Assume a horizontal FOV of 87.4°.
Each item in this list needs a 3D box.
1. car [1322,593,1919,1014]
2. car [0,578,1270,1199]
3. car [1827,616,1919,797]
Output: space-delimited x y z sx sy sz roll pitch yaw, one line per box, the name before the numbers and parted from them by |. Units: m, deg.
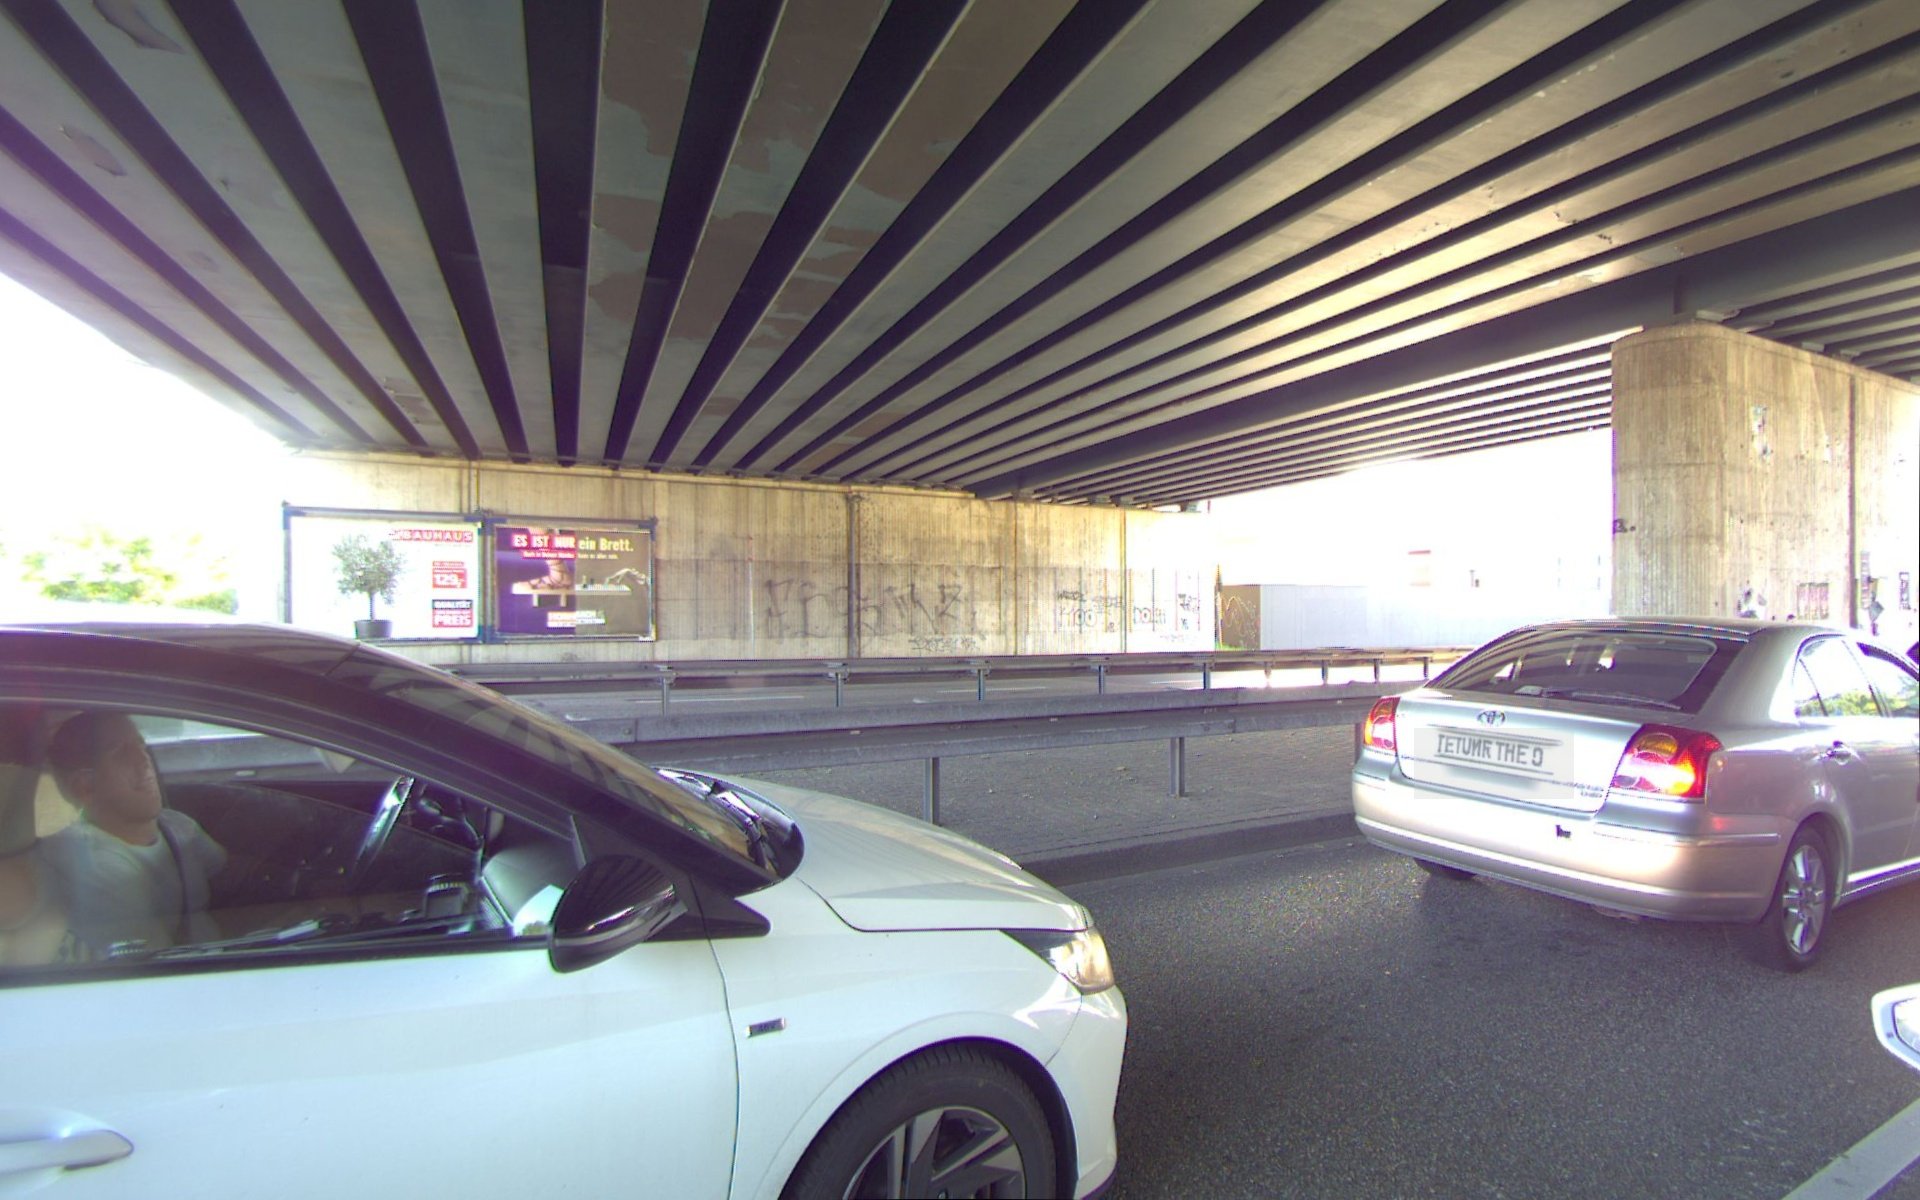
car | 4.085 0.773 5.455 4.270 1.499 1.724 1 -1 -32
car | -1.424 0.730 1.963 3.946 1.499 1.724 1 -1 -32
car | 9.542 0.886 8.860 3.687 1.457 1.804 0 0 -31
